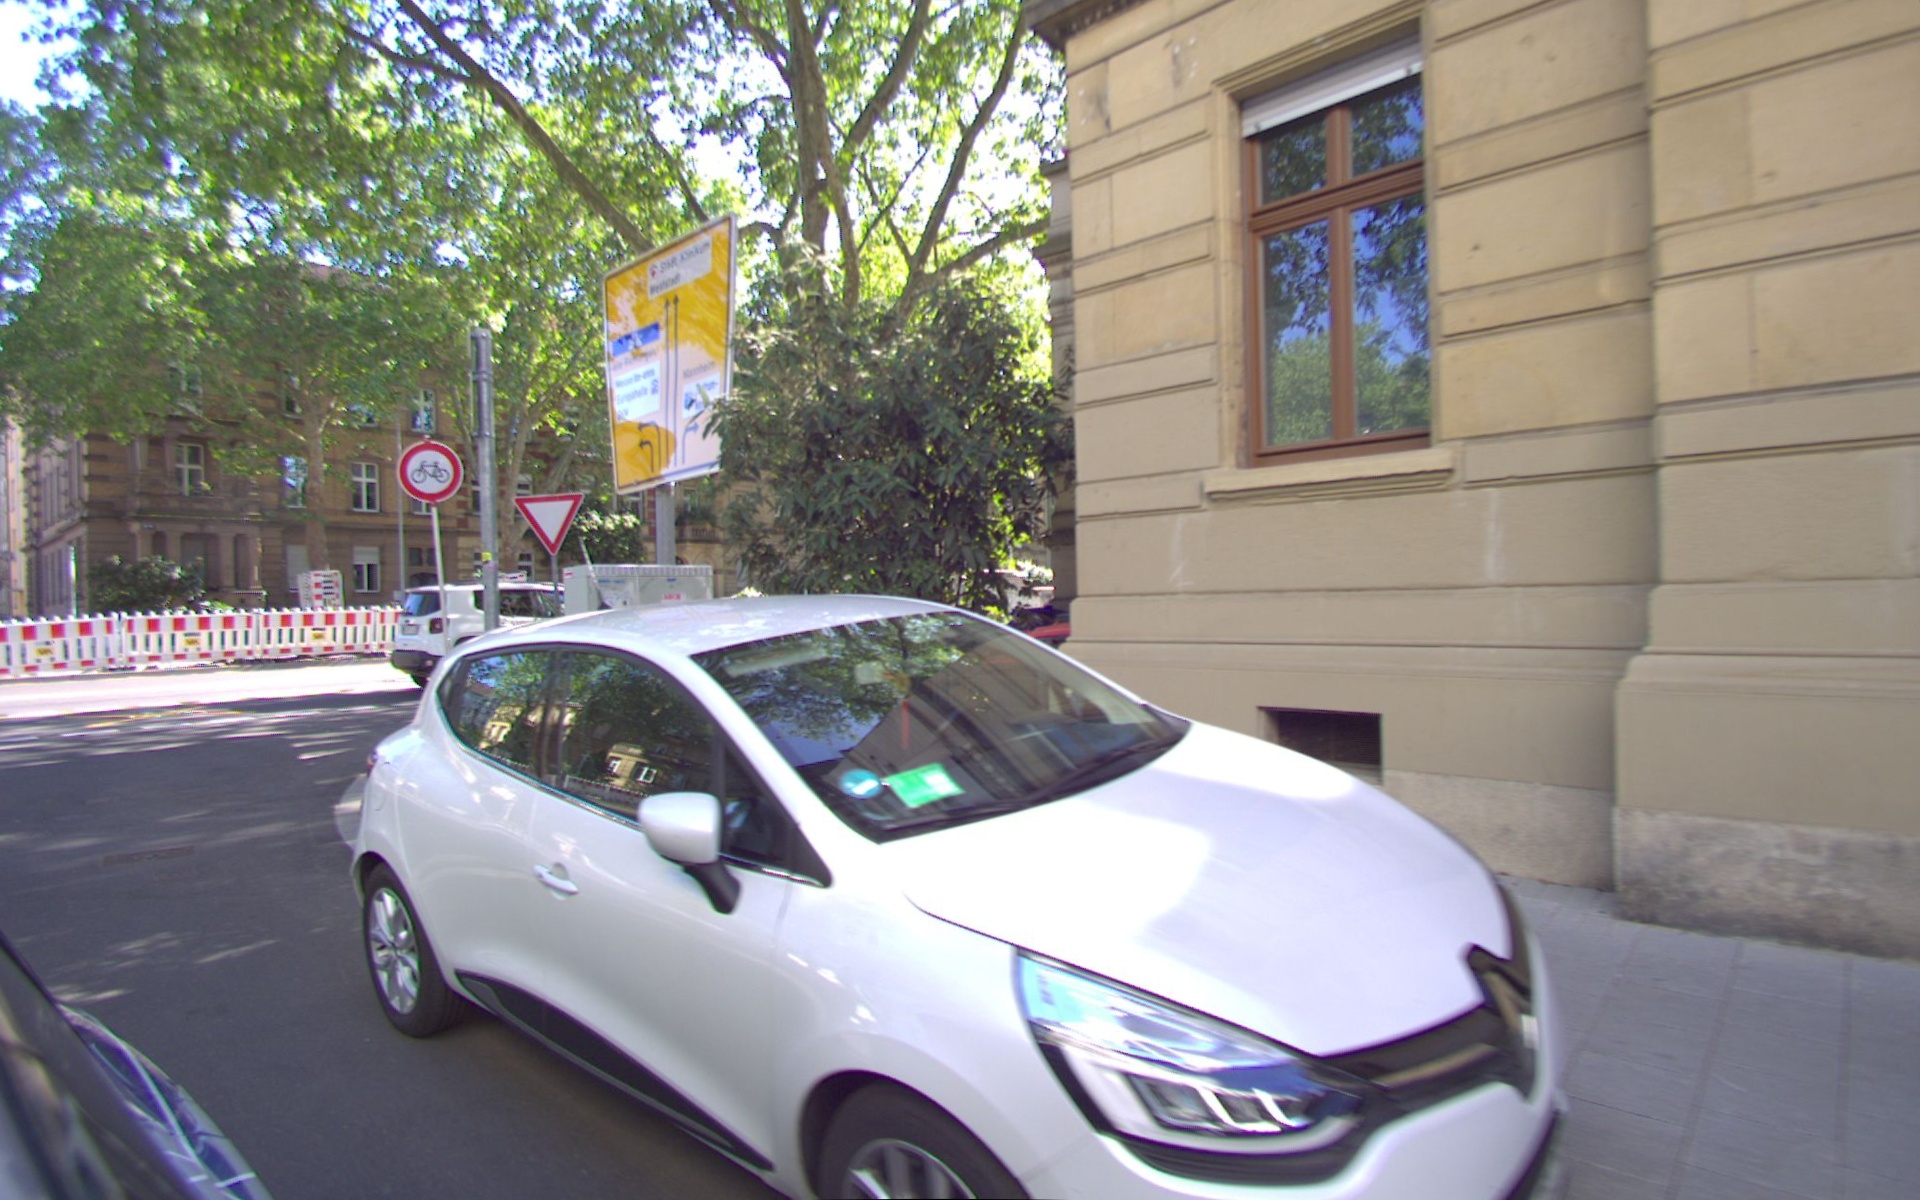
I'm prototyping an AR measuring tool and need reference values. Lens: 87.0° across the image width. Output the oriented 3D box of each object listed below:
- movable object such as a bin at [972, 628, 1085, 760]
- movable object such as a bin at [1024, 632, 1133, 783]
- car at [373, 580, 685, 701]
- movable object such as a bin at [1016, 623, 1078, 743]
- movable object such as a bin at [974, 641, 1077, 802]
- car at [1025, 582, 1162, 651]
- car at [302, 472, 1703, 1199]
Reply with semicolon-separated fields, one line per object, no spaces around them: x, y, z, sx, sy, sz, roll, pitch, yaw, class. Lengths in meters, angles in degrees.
0.542;0.722;8.045;0.689;0.978;0.540;-2;-1;42;movable object such as a bin
0.826;0.721;7.041;0.520;0.978;0.540;-2;-1;41;movable object such as a bin
-7.009;0.555;16.874;1.867;1.739;4.448;0;1;39;car
0.735;0.686;8.545;0.344;0.978;0.377;-2;-1;41;movable object such as a bin
0.424;0.765;6.578;0.520;0.978;0.393;-2;-1;42;movable object such as a bin
3.461;0.392;25.644;1.774;1.580;3.952;-3;-1;35;car
-0.269;0.625;3.077;3.940;1.573;1.848;-1;2;41;car
